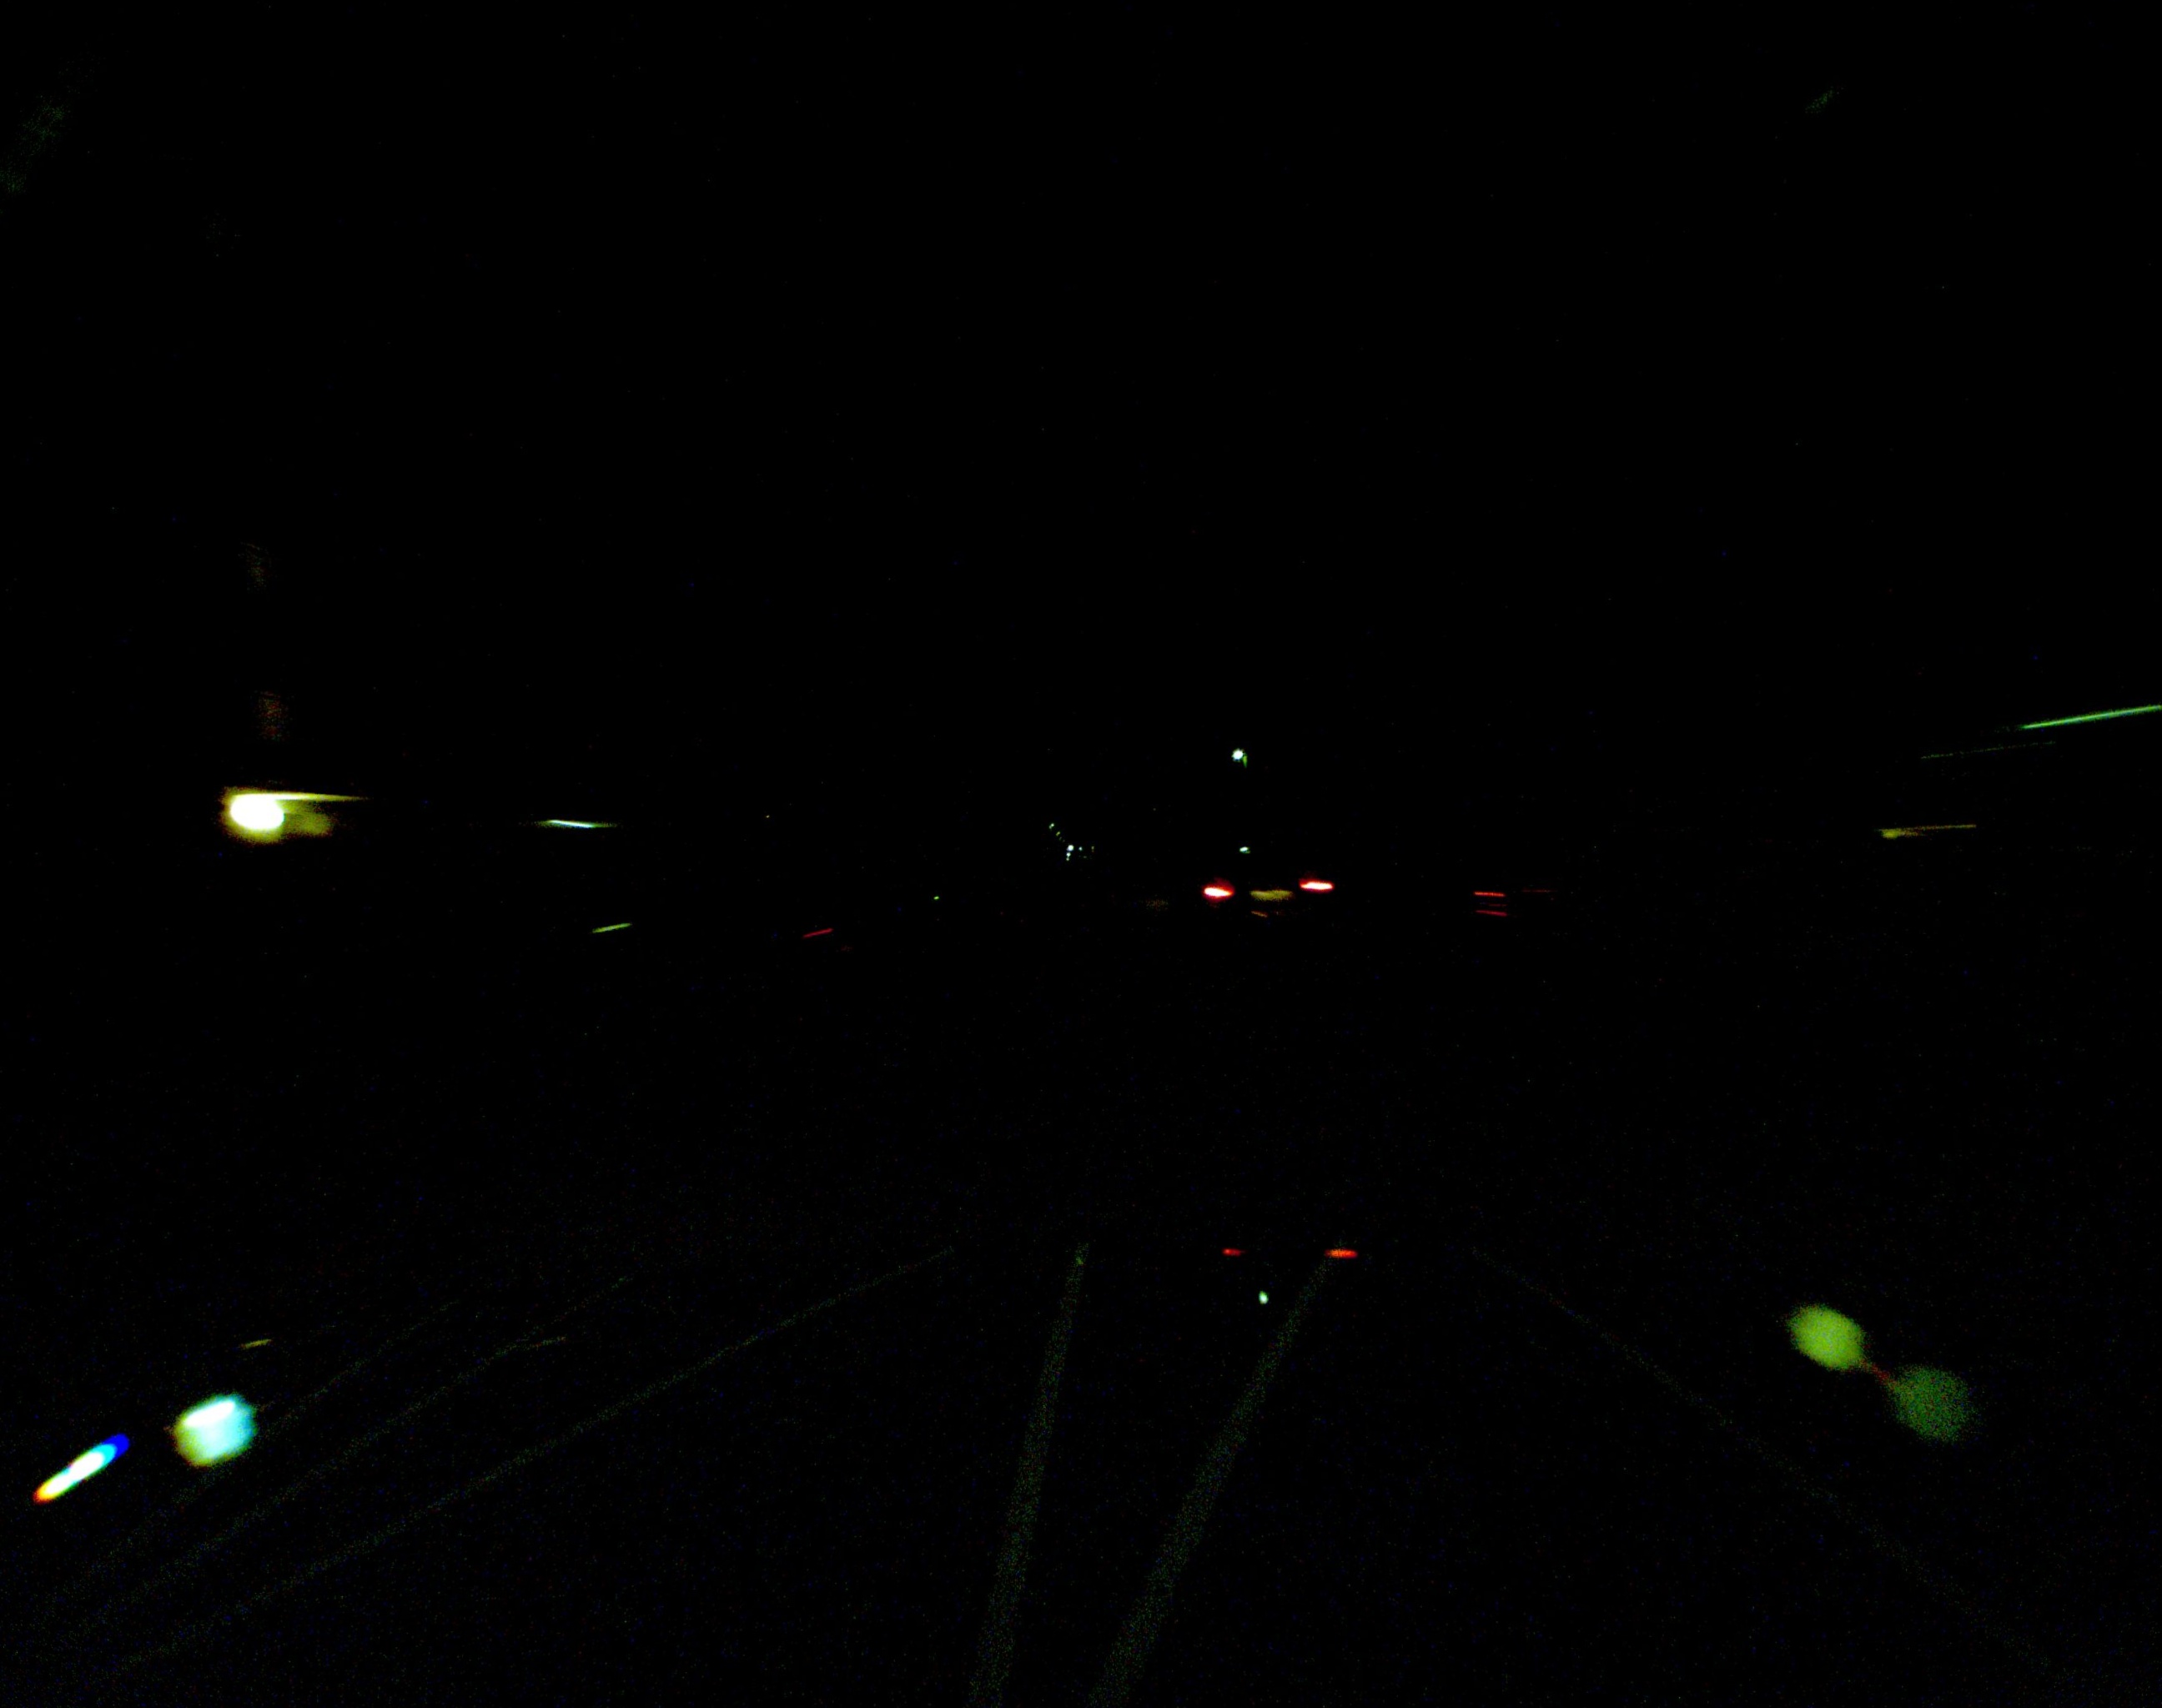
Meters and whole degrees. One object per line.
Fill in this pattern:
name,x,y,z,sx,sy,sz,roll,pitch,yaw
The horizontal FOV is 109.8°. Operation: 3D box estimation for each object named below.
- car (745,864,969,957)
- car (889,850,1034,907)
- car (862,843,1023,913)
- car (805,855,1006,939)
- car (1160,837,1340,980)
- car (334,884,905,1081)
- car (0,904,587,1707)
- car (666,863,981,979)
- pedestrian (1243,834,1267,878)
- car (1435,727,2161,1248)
car,-4.563,1.133,15.985,3.997,1.548,2.000,-4,0,1
car,-4.516,0.919,29.444,5.156,1.834,2.259,-3,0,-1
car,-4.746,0.814,26.691,5.156,2.084,2.259,-3,0,-1
car,-4.223,1.012,18.740,4.285,1.688,2.001,-4,0,6
car,2.337,0.682,11.550,1.724,1.705,3.960,-3,0,-1
car,-4.227,1.157,7.527,4.409,1.411,1.935,-3,0,1
car,-4.021,1.075,2.137,3.925,1.542,1.988,-3,0,4
car,-4.305,1.097,13.280,4.665,1.548,2.107,-4,0,3
pedestrian,7.864,0.087,34.413,0.747,1.893,0.829,-6,1,0
car,4.811,0.426,5.320,2.121,1.935,4.887,-5,0,-2
